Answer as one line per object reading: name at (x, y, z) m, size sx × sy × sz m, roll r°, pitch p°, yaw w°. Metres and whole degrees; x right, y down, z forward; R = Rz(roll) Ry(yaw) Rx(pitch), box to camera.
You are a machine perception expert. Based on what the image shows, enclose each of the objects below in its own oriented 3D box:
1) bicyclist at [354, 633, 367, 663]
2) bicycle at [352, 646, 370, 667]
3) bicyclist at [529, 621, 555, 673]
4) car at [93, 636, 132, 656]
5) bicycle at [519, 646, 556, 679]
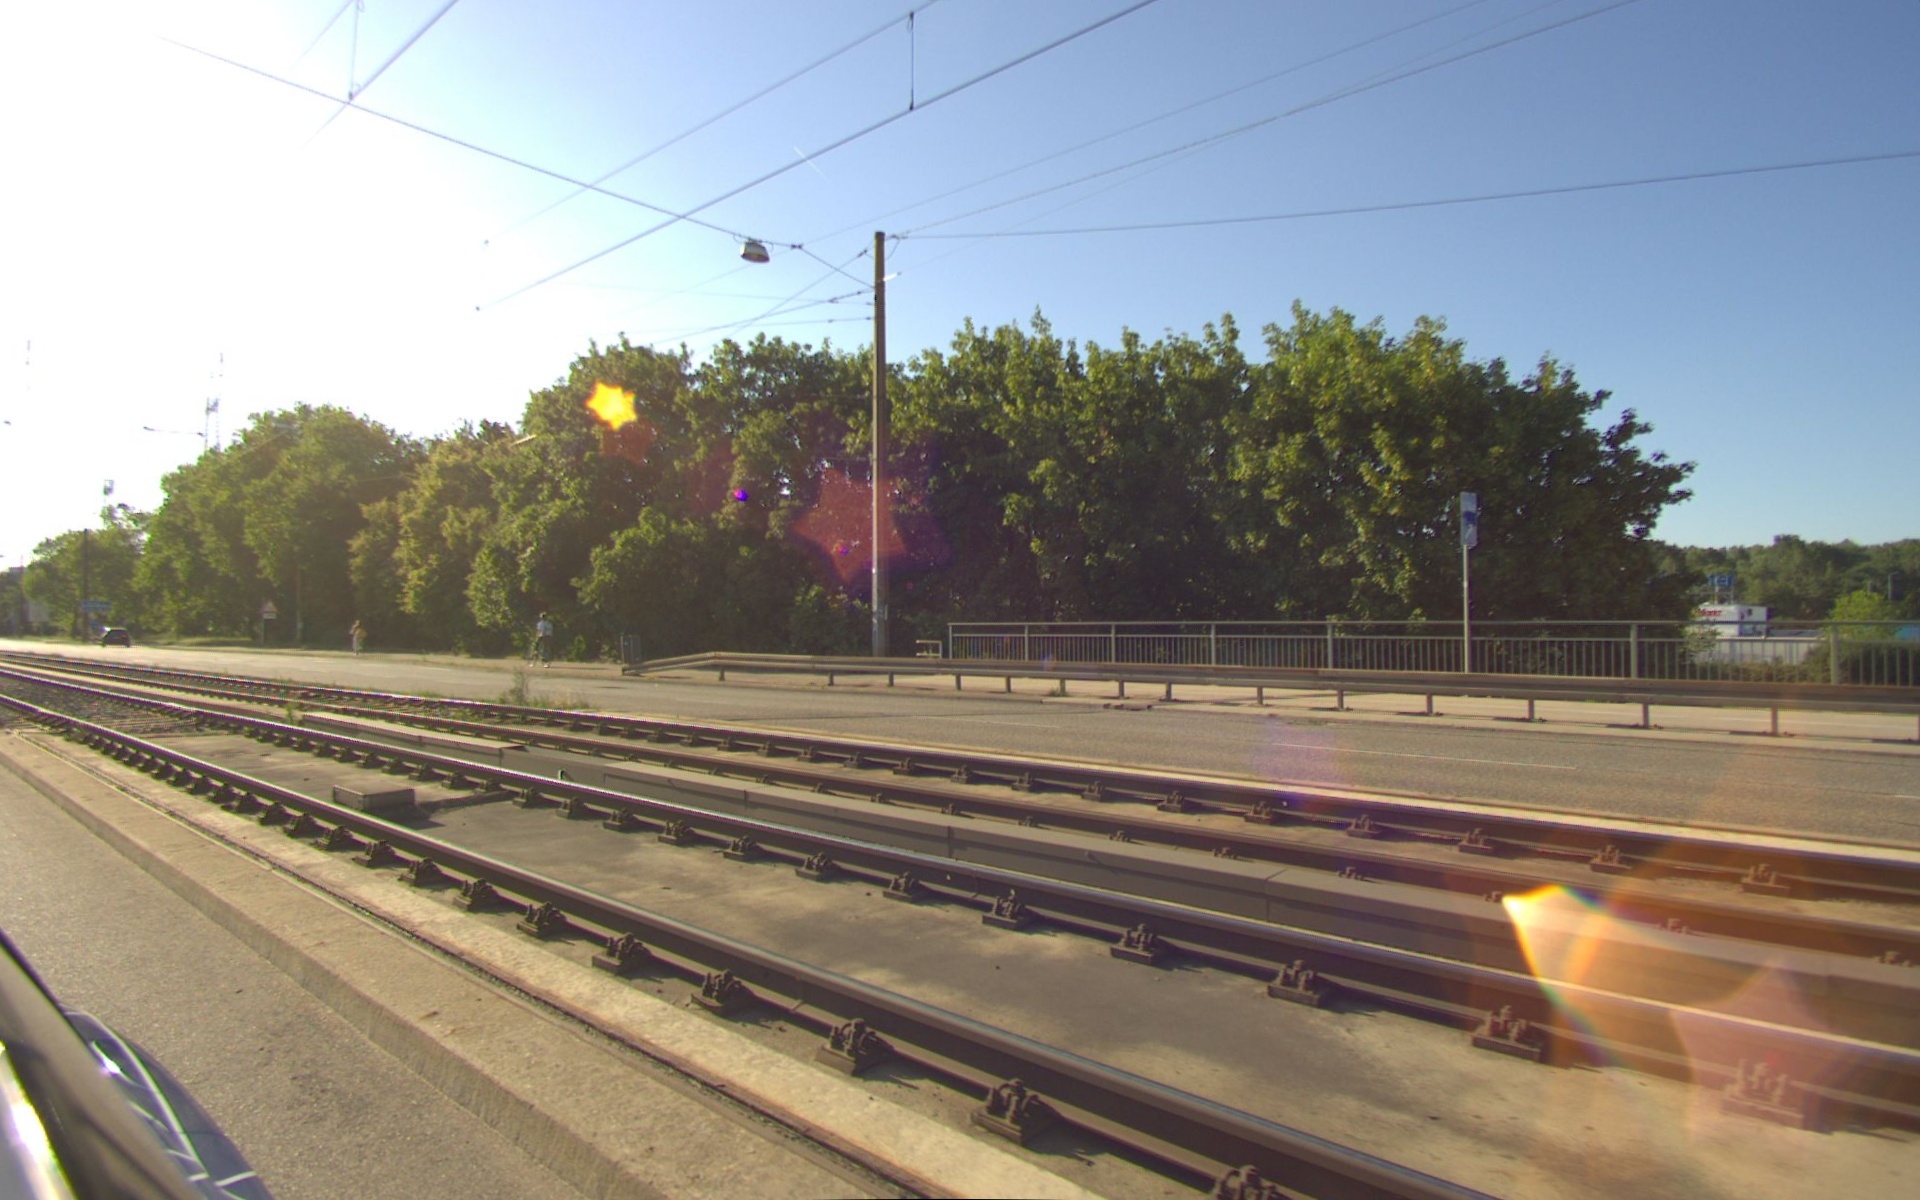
bicyclist at (-30.254, 2.410, 51.050) m, size 0.417 × 1.439 × 0.755 m, roll -1°, pitch 0°, yaw -42°
bicycle at (-30.199, 2.823, 51.003) m, size 0.420 × 0.971 × 1.915 m, roll -1°, pitch 0°, yaw -42°
bicyclist at (-14.469, 1.624, 35.004) m, size 0.833 × 1.764 × 0.492 m, roll -1°, pitch 0°, yaw 41°
car at (-70.950, 3.826, 84.686) m, size 3.956 × 1.533 × 1.952 m, roll -1°, pitch 0°, yaw 42°
bicycle at (-14.711, 2.159, 35.234) m, size 1.727 × 1.060 × 0.498 m, roll -1°, pitch 0°, yaw 42°
